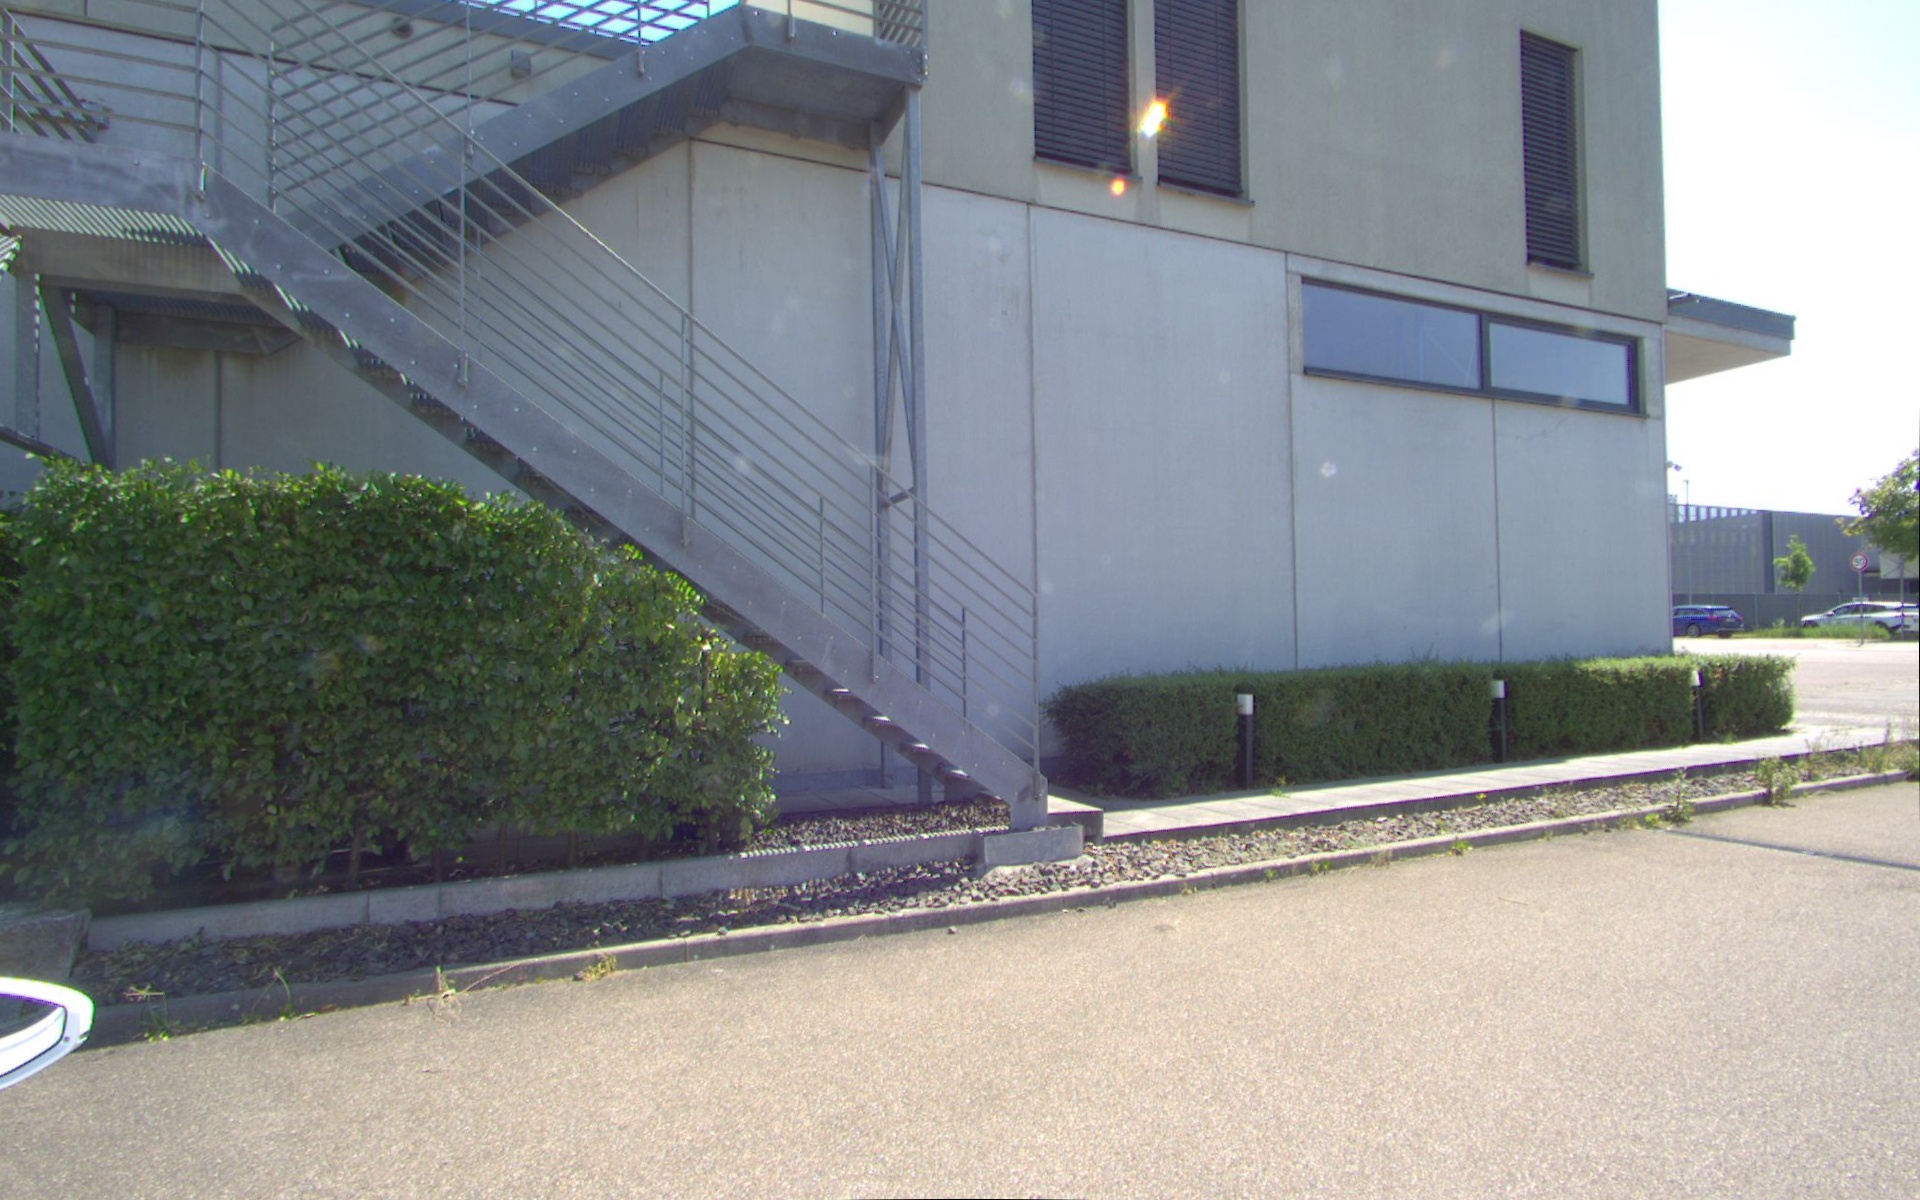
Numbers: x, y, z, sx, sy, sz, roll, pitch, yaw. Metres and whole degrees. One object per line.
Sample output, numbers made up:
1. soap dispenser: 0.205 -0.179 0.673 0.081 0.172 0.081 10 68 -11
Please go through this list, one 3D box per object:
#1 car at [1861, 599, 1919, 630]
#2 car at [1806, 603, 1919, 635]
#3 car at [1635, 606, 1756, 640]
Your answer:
1. car: 45.421 0.707 47.309 1.717 1.433 4.064 1 -2 -11
2. car: 42.583 0.910 46.878 1.717 1.433 4.445 1 -2 -11
3. car: 33.037 1.056 45.132 1.717 1.433 4.446 1 -2 -10
